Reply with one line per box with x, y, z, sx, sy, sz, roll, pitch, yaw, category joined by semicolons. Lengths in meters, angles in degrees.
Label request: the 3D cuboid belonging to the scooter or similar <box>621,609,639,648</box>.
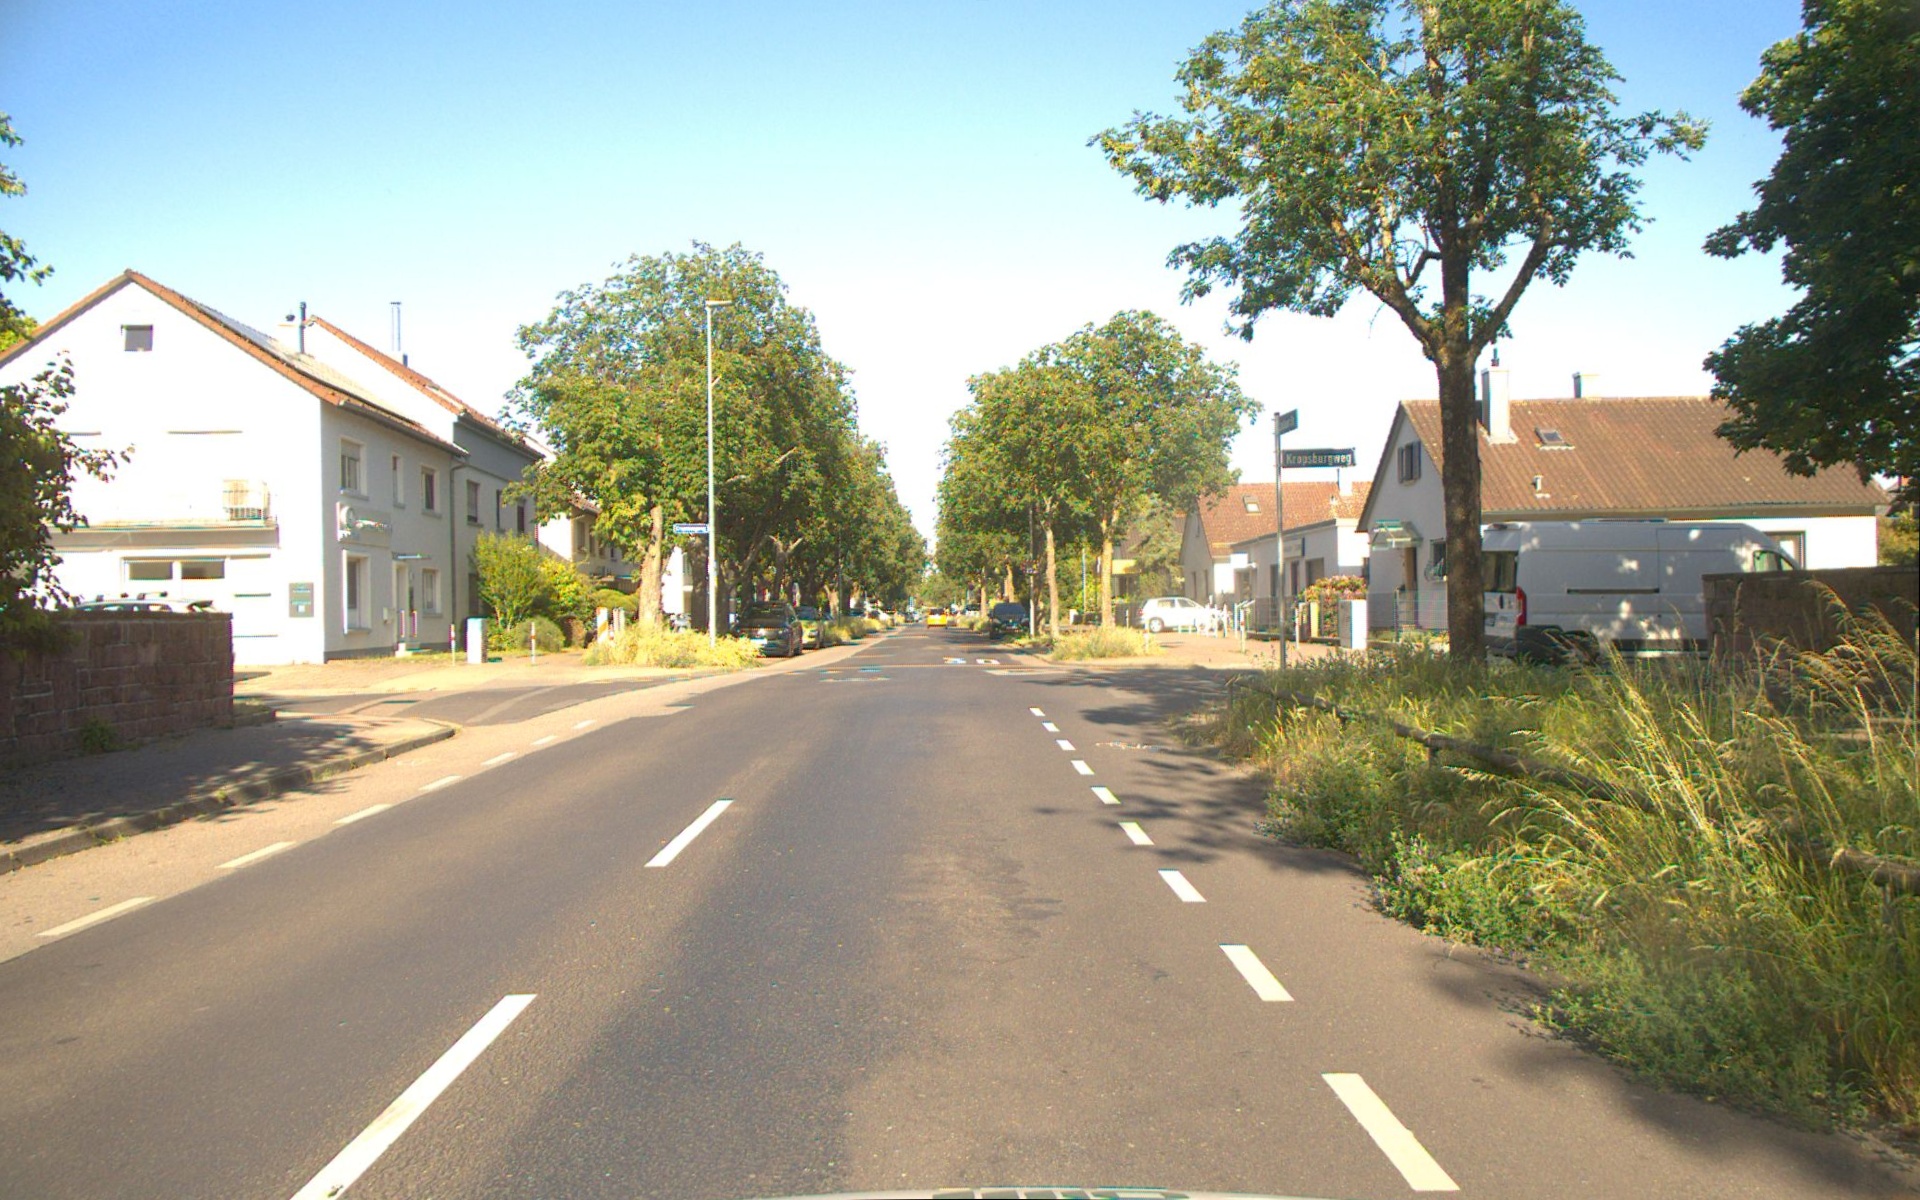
-8.837;0.766;44.246;0.328;1.018;0.997;-2;0;-4;scooter or similar

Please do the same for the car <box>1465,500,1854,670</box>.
11.476;-0.254;27.405;5.483;2.583;2.264;-1;0;-3;car

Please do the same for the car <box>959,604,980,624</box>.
0.829;1.316;151.281;1.864;1.805;4.300;0;-1;0;car

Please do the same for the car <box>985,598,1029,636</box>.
2.209;0.809;78.217;1.815;1.654;4.468;-3;-1;-1;car

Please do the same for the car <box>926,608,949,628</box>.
-1.846;1.457;133.892;1.850;1.505;3.886;1;-1;-2;car

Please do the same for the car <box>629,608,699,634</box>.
-19.863;1.415;111.244;4.465;1.646;1.998;0;1;-5;car

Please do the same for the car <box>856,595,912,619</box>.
-7.375;0.659;160.233;5.388;2.287;2.516;0;1;-3;car

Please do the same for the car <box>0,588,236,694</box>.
-17.113;0.787;32.986;4.400;1.869;1.999;-1;3;-4;car

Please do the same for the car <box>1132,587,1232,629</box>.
9.380;0.320;70.157;3.907;1.514;1.901;-3;1;-2;car

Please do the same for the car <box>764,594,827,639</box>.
-6.141;0.657;62.212;1.899;1.637;4.383;0;-1;0;car

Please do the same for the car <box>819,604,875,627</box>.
-9.056;1.251;132.246;4.458;1.796;1.998;0;1;-6;car

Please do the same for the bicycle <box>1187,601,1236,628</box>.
10.349;0.588;68.114;1.885;1.016;0.576;-3;1;-3;bicycle

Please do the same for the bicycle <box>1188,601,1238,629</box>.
10.260;0.606;67.122;1.919;1.016;0.576;-3;1;-3;bicycle

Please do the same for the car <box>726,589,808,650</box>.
-5.847;0.623;50.591;1.913;1.757;4.874;0;-1;0;car

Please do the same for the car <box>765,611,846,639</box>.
-8.845;1.437;94.742;4.462;1.537;1.841;0;1;-1;car
